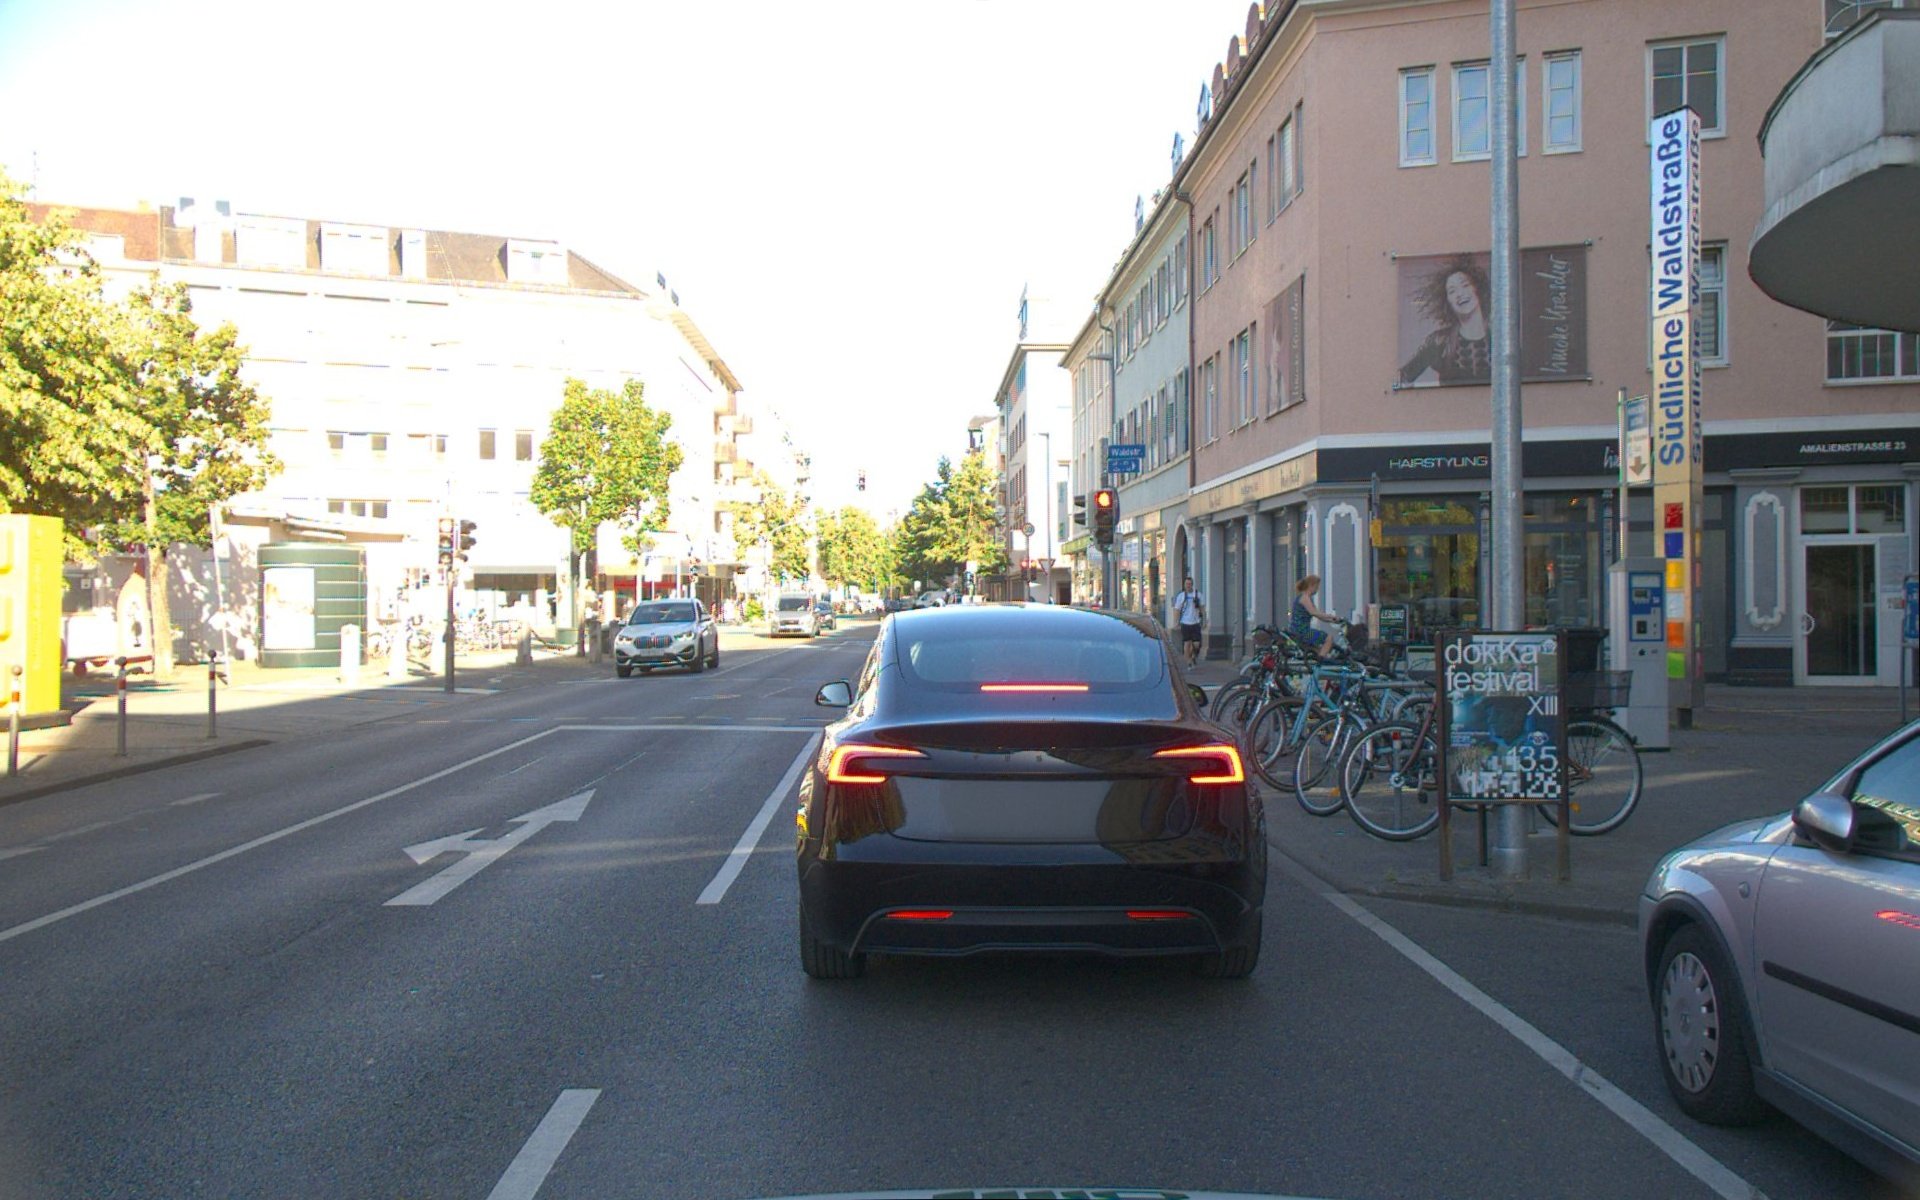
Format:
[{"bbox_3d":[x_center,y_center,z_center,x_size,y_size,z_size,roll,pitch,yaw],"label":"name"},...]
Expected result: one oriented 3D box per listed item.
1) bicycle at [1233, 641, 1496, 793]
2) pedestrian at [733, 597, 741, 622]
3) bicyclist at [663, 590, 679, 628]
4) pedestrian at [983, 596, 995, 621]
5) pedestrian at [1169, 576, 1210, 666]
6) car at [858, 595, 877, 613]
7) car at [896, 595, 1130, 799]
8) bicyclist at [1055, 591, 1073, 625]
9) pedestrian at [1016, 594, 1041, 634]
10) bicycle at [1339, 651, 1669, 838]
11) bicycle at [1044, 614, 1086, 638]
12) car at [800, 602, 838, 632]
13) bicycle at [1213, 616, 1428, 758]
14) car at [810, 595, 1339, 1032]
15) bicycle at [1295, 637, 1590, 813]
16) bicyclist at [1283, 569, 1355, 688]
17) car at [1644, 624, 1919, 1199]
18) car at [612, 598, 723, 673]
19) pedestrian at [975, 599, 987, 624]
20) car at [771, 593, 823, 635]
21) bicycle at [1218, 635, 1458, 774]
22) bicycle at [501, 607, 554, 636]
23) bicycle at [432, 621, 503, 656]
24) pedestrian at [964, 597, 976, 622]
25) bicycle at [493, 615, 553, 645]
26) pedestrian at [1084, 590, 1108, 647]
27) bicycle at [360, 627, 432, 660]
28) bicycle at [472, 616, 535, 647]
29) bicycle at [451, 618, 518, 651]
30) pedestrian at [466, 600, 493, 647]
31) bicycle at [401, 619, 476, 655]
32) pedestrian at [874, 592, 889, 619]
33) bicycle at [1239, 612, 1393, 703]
[{"bbox_3d":[3.025,0.870,12.475,1.834,1.056,0.533,-2,-1,3],"label":"bicycle"},{"bbox_3d":[-13.284,0.583,98.657,0.451,1.486,0.517,0,0,-6],"label":"pedestrian"},{"bbox_3d":[-11.502,0.360,65.891,0.516,1.530,0.473,1,-1,-24],"label":"bicyclist"},{"bbox_3d":[1.691,0.507,95.908,0.516,1.447,0.474,1,-1,-31],"label":"pedestrian"},{"bbox_3d":[4.670,0.427,33.632,0.735,1.796,0.837,-1,-1,3],"label":"pedestrian"},{"bbox_3d":[-10.428,0.421,186.809,1.953,2.049,3.999,1,0,-1],"label":"car"},{"bbox_3d":[0.312,0.692,13.810,1.683,1.450,3.755,0,0,-2],"label":"car"},{"bbox_3d":[4.480,0.346,71.389,0.659,1.420,0.460,1,-1,-17],"label":"bicyclist"},{"bbox_3d":[2.869,0.583,69.424,0.742,1.660,0.951,1,-1,-18],"label":"pedestrian"},{"bbox_3d":[3.263,0.871,10.008,1.833,1.056,0.353,-2,-1,6],"label":"bicycle"},{"bbox_3d":[4.514,1.134,71.398,1.756,1.024,0.469,1,-1,-17],"label":"bicycle"},{"bbox_3d":[-7.219,0.862,84.950,1.680,1.471,3.844,1,0,-1],"label":"car"},{"bbox_3d":[3.201,0.773,14.786,1.789,1.189,0.506,-2,-1,5],"label":"bicycle"},{"bbox_3d":[0.362,0.728,7.588,1.785,1.467,3.999,0,0,-1],"label":"car"},{"bbox_3d":[3.243,0.834,11.193,1.834,1.106,0.414,-2,-1,3],"label":"bicycle"},{"bbox_3d":[4.641,0.365,21.357,0.872,1.508,0.702,0,0,16],"label":"bicyclist"},{"bbox_3d":[2.916,0.779,3.492,1.515,1.415,3.476,0,0,0],"label":"car"},{"bbox_3d":[-6.312,0.747,36.063,1.752,1.485,3.756,-2,0,-1],"label":"car"},{"bbox_3d":[1.203,0.645,95.043,0.516,1.447,0.474,1,-1,-31],"label":"pedestrian"},{"bbox_3d":[-6.643,0.562,67.822,1.751,1.675,4.401,0,0,-1],"label":"car"},{"bbox_3d":[3.087,0.854,13.618,1.833,1.056,0.548,-2,-1,5],"label":"bicycle"},{"bbox_3d":[-20.313,1.026,77.716,2.334,1.318,0.509,1,-1,-27],"label":"bicycle"},{"bbox_3d":[-14.022,1.090,47.131,1.826,0.950,0.606,1,0,-2],"label":"bicycle"},{"bbox_3d":[0.576,0.537,95.753,0.467,1.442,0.516,1,-1,-32],"label":"pedestrian"},{"bbox_3d":[-14.366,0.988,54.401,1.826,0.950,0.606,0,0,-2],"label":"bicycle"},{"bbox_3d":[4.240,0.575,51.483,0.692,1.773,0.540,0,-2,-1],"label":"pedestrian"},{"bbox_3d":[-14.450,1.115,42.393,1.612,0.806,0.606,1,0,-5],"label":"bicycle"},{"bbox_3d":[-14.330,0.979,51.953,1.826,0.950,0.606,0,0,-2],"label":"bicycle"},{"bbox_3d":[-14.259,1.036,49.602,1.826,0.950,0.606,1,0,-2],"label":"bicycle"},{"bbox_3d":[-21.284,1.036,73.298,1.041,2.049,1.049,1,-1,-20],"label":"pedestrian"},{"bbox_3d":[-14.167,1.010,44.979,1.826,0.950,0.606,0,0,-2],"label":"bicycle"},{"bbox_3d":[-5.131,0.366,107.779,0.708,1.725,0.843,0,0,-28],"label":"pedestrian"},{"bbox_3d":[4.601,0.724,21.350,1.893,1.137,0.709,0,-1,17],"label":"bicycle"}]
